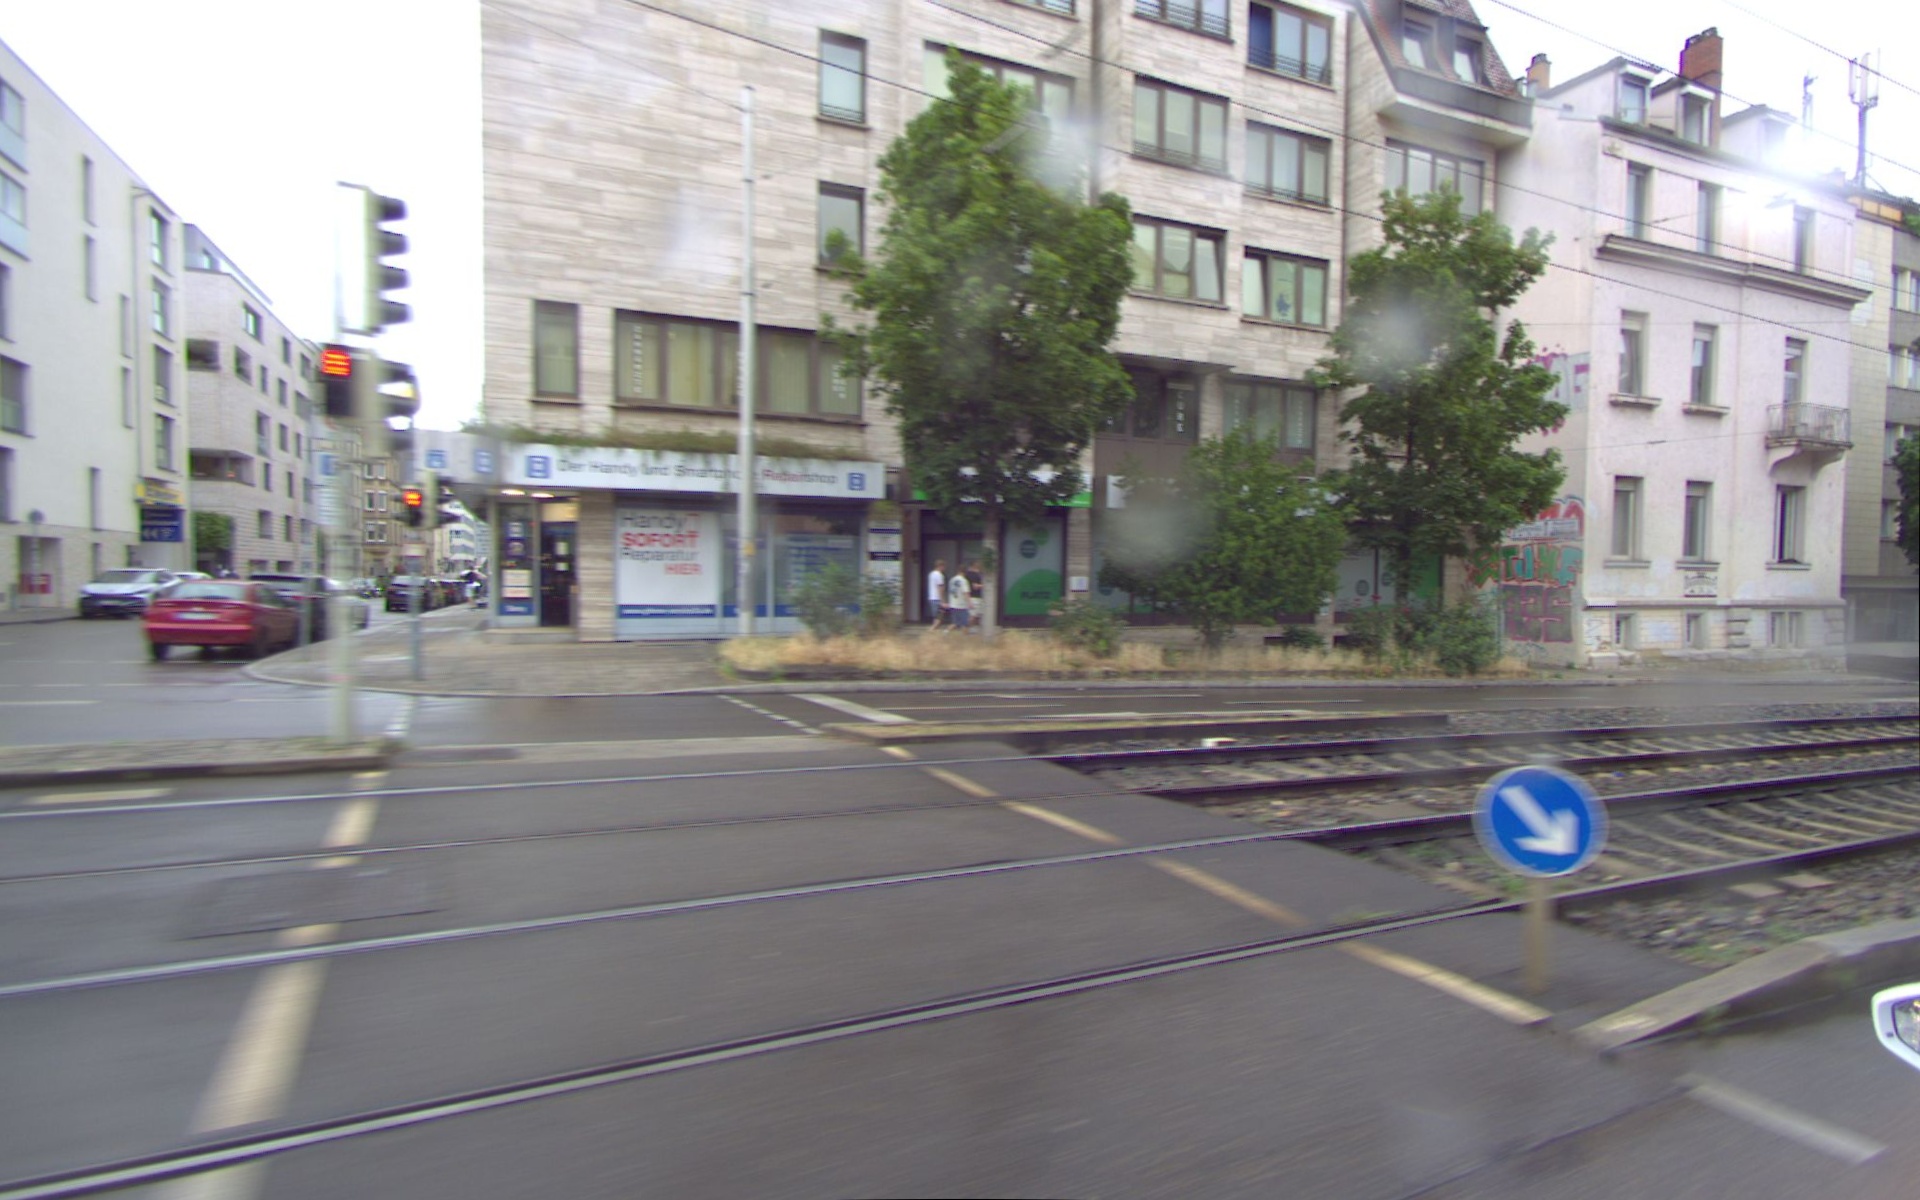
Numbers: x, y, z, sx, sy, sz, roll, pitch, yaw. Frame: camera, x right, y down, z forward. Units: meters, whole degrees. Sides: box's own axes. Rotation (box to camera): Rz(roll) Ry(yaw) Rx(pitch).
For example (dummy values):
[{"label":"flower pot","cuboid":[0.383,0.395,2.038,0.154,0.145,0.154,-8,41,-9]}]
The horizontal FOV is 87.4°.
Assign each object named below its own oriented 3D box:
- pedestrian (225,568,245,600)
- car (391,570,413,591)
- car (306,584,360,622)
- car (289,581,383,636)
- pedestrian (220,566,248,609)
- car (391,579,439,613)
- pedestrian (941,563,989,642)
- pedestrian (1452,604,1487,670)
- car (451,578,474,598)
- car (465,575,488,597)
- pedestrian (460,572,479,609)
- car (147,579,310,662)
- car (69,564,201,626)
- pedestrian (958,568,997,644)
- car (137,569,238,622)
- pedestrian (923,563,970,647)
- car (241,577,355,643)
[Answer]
[{"label":"pedestrian","cuboid":[-38.153,-0.847,52.888,0.654,1.609,0.538,4,2,-22]},{"label":"car","cuboid":[-49.510,-1.722,89.192,1.390,1.594,3.167,4,2,-25]},{"label":"car","cuboid":[-29.034,0.125,46.592,1.545,1.439,3.592,4,2,-24]},{"label":"car","cuboid":[-17.645,0.195,28.579,1.572,1.335,4.475,4,0,-24]},{"label":"pedestrian","cuboid":[-34.332,-0.597,47.528,0.805,1.974,0.854,4,2,-24]},{"label":"car","cuboid":[-24.831,-0.209,45.843,1.572,1.335,3.683,4,0,-24]},{"label":"pedestrian","cuboid":[0.098,0.057,20.989,0.675,1.569,0.645,4,2,-25]},{"label":"pedestrian","cuboid":[13.315,0.974,26.235,0.576,1.674,0.464,3,2,-36]},{"label":"car","cuboid":[-43.596,-1.062,88.085,1.362,1.594,3.042,4,2,-20]},{"label":"car","cuboid":[-40.189,-1.201,83.533,1.362,1.594,3.042,4,2,-20]},{"label":"pedestrian","cuboid":[-21.816,-0.415,44.652,0.641,1.569,0.679,4,2,-25]},{"label":"car","cuboid":[-13.735,0.326,19.092,1.571,1.335,3.686,4,0,-22]},{"label":"car","cuboid":[-26.065,-0.205,31.915,1.971,1.617,3.980,4,2,-21]},{"label":"pedestrian","cuboid":[0.385,0.129,22.115,0.578,1.619,0.502,4,2,-26]},{"label":"car","cuboid":[-28.068,-0.207,36.635,1.775,1.617,3.980,4,2,-21]},{"label":"pedestrian","cuboid":[-0.300,0.103,21.750,0.675,1.747,0.645,4,2,-25]},{"label":"car","cuboid":[-15.461,0.195,23.623,1.572,1.335,3.683,4,0,-24]}]
